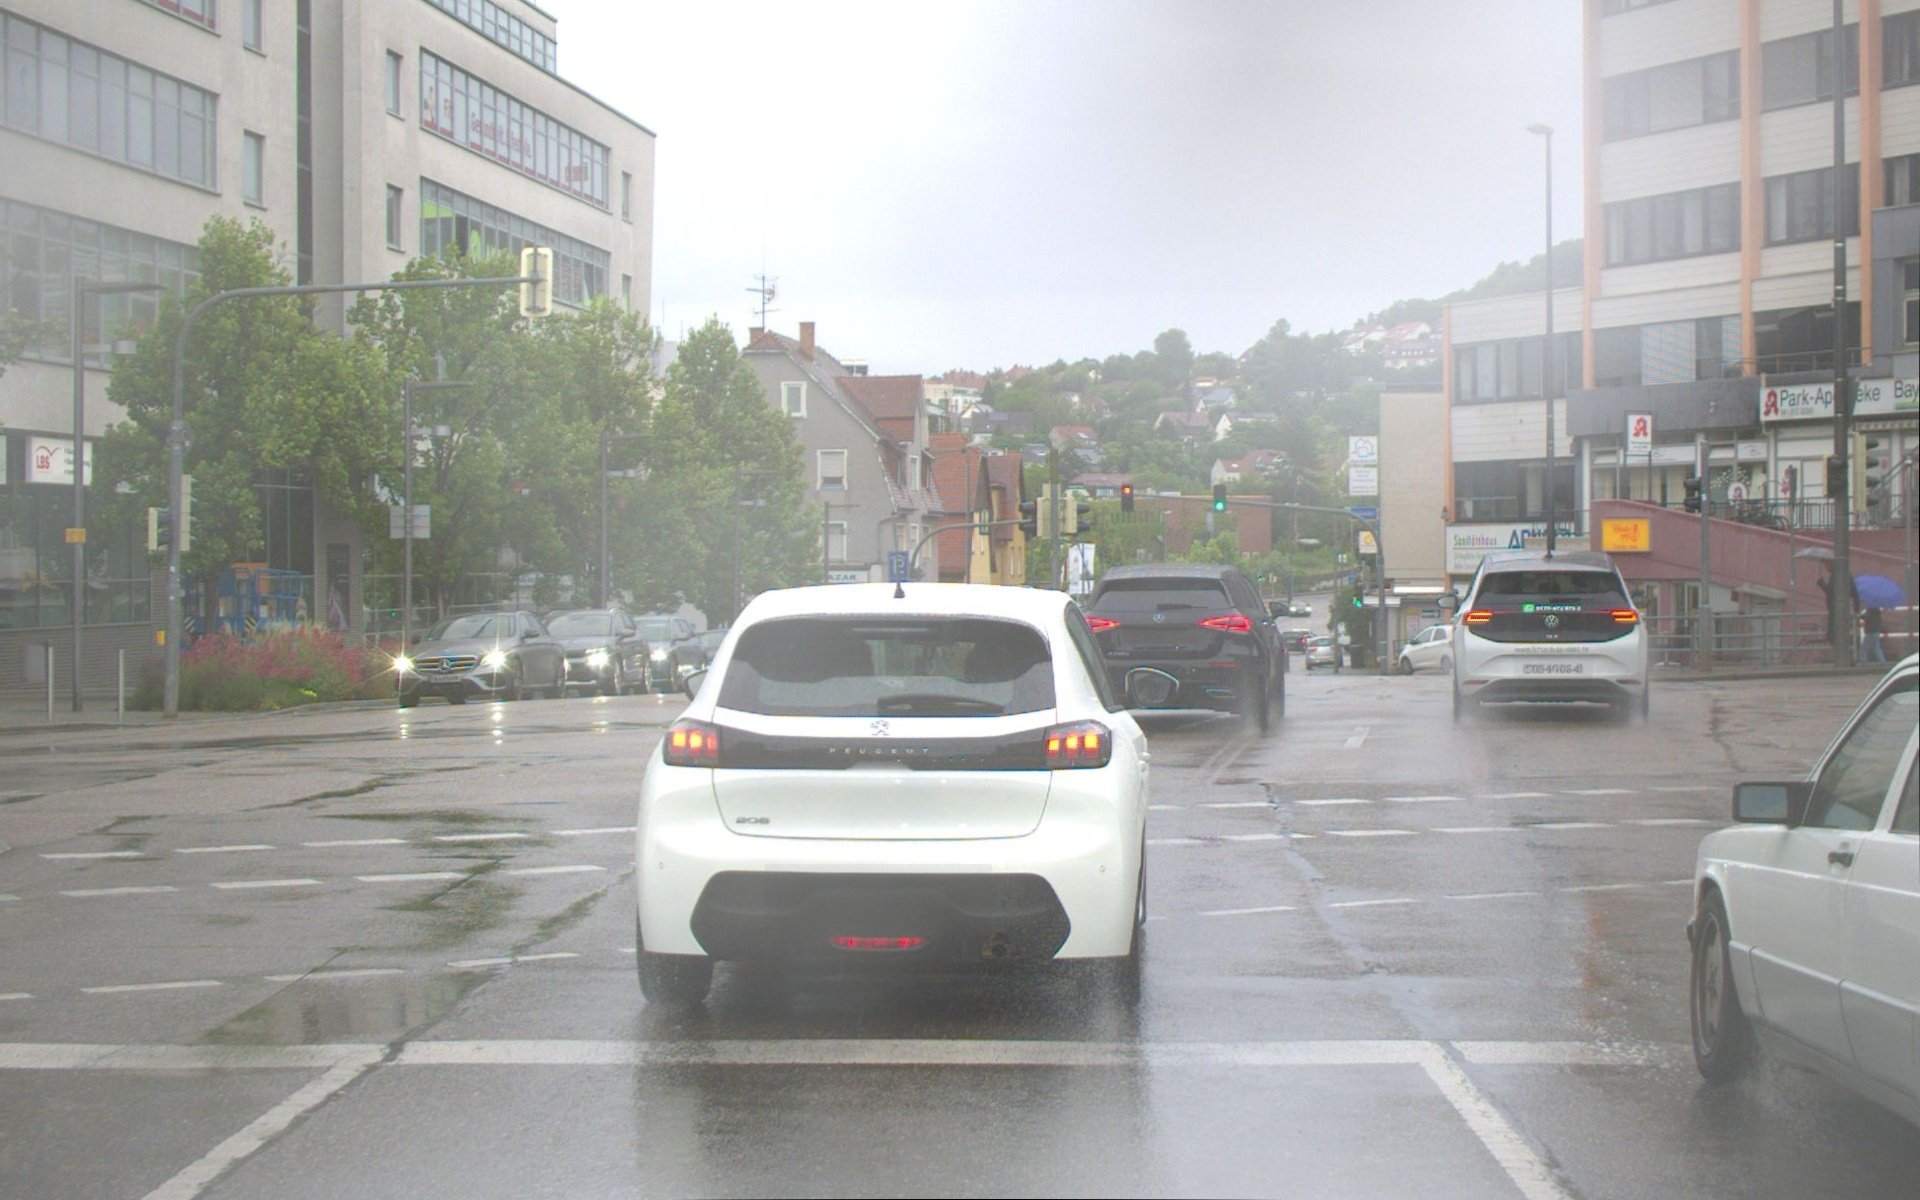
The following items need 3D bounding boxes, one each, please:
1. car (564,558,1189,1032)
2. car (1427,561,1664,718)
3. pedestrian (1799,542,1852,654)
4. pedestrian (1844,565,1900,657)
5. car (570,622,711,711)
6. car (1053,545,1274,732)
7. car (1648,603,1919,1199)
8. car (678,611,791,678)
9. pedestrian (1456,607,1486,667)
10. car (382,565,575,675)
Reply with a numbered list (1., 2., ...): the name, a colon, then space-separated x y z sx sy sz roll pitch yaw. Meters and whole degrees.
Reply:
1. car: -0.143 0.591 12.764 1.872 1.457 3.872 1 1 5
2. car: 5.448 0.342 32.357 1.912 1.395 3.457 0 0 5
3. pedestrian: 12.551 -0.029 49.862 0.708 1.602 0.655 0 0 11
4. pedestrian: 13.413 0.164 50.574 0.708 1.341 0.655 -1 -1 10
5. car: -6.354 1.302 68.889 1.774 1.588 4.586 -4 -1 7
6. car: 1.884 0.298 30.851 1.816 1.524 3.812 -1 1 5
7. car: 2.936 0.750 8.379 1.634 1.443 4.268 1 0 0
8. car: -4.914 0.960 75.516 1.726 1.383 4.599 -2 -1 5
9. pedestrian: 15.418 1.116 103.762 0.640 1.816 0.583 -1 -1 -26
10. car: -7.493 0.276 53.959 1.920 1.626 4.902 1 1 5
